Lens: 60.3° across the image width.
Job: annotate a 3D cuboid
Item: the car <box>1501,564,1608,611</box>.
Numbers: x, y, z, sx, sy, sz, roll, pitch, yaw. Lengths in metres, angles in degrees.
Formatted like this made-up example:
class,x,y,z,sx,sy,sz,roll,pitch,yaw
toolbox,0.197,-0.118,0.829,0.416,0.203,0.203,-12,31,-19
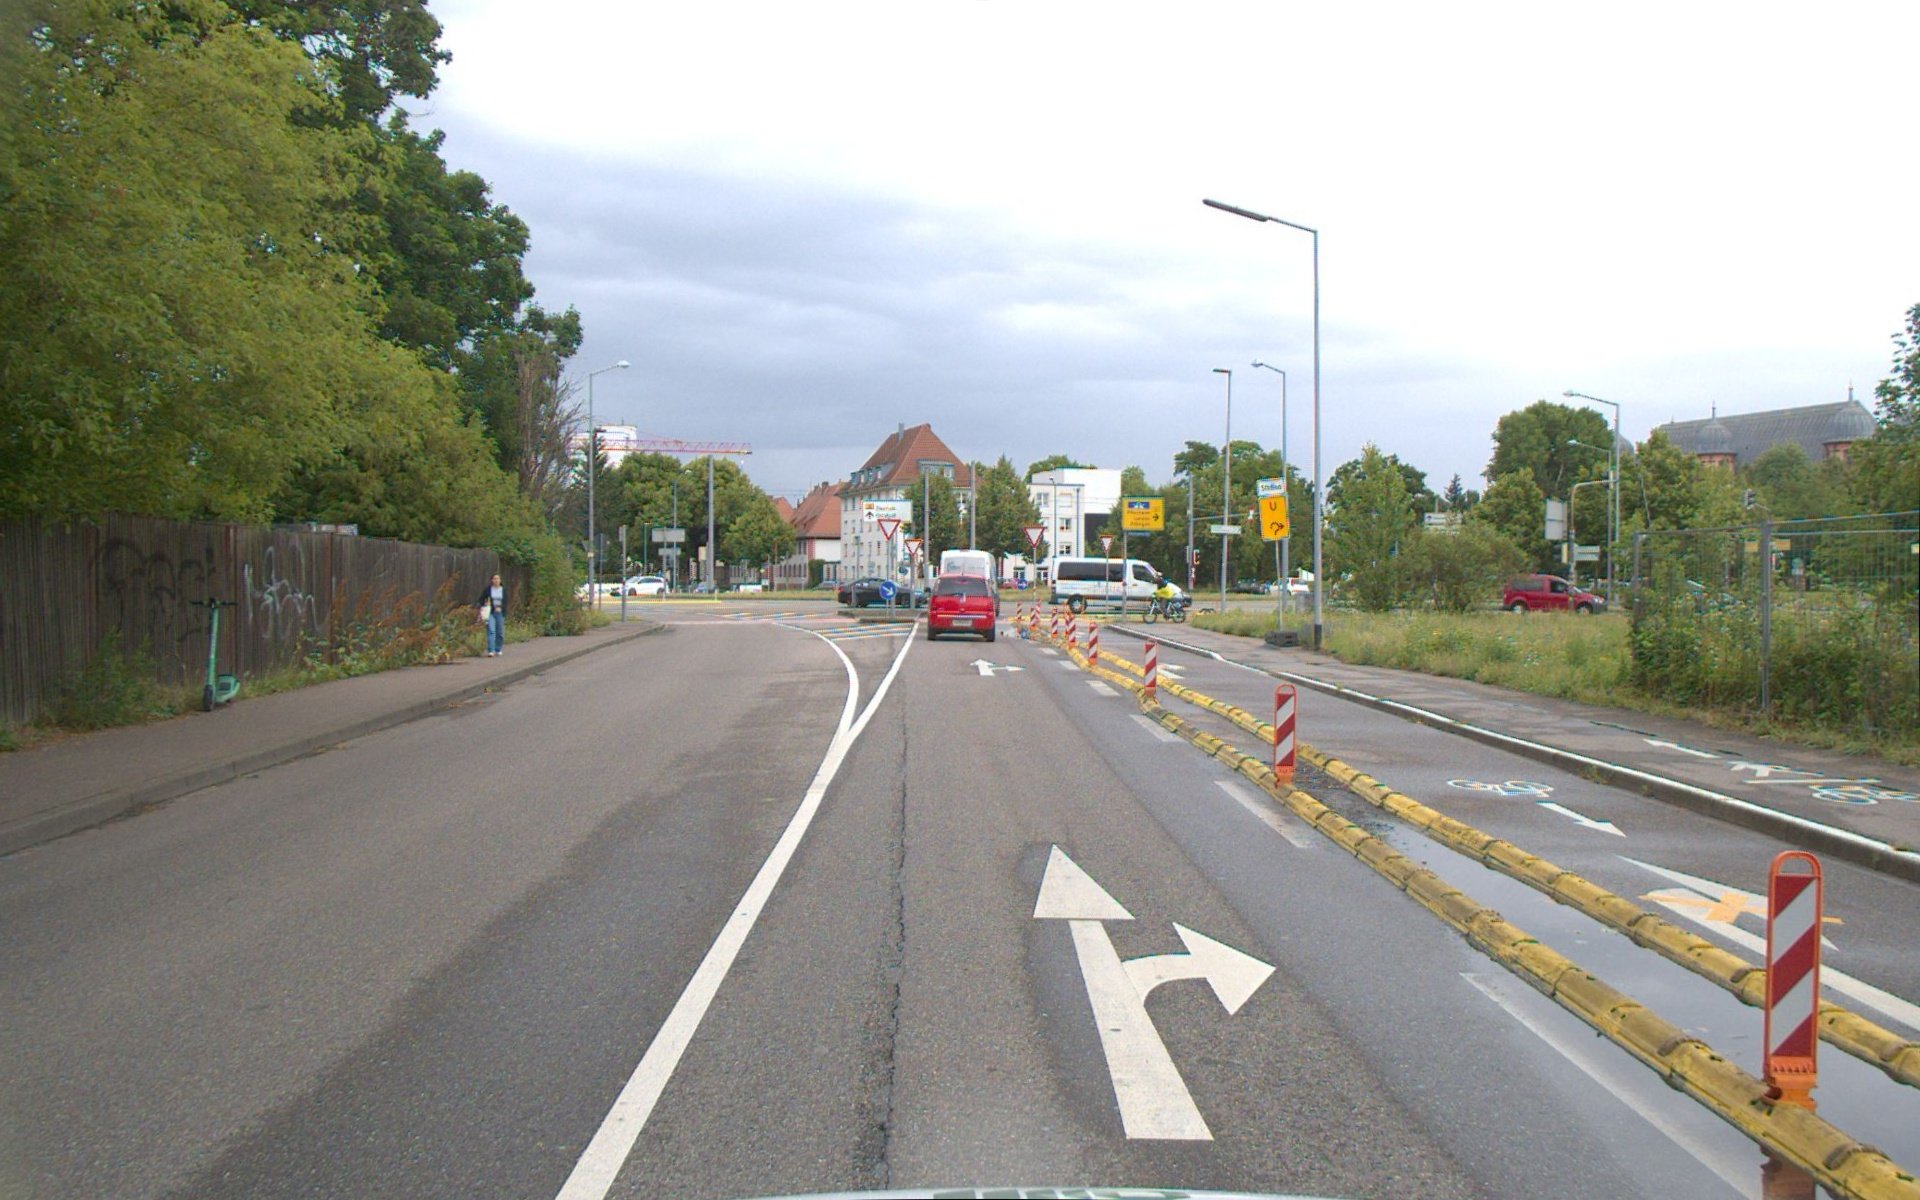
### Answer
class,x,y,z,sx,sy,sz,roll,pitch,yaw
car,25.179,-0.527,70.159,4.105,1.951,2.117,0,1,15

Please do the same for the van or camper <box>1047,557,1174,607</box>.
class,x,y,z,sx,sy,sz,roll,pitch,yaw
van or camper,6.539,-0.793,72.027,5.417,2.152,2.001,0,1,5

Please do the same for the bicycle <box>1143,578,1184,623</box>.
class,x,y,z,sx,sy,sz,roll,pitch,yaw
bicycle,7.377,0.009,59.917,1.446,1.640,0.606,0,0,2

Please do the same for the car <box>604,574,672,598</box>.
class,x,y,z,sx,sy,sz,roll,pitch,yaw
car,-22.604,-1.014,116.110,1.959,1.663,4.659,0,1,35

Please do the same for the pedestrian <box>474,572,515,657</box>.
class,x,y,z,sx,sy,sz,roll,pitch,yaw
pedestrian,-8.631,0.269,30.711,0.600,1.556,0.723,0,0,-5

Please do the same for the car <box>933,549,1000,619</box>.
class,x,y,z,sx,sy,sz,roll,pitch,yaw
car,0.300,-0.628,64.517,2.149,2.584,4.966,1,1,5

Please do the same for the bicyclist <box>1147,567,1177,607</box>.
class,x,y,z,sx,sy,sz,roll,pitch,yaw
bicyclist,7.325,-0.462,59.905,1.039,1.426,0.615,0,0,2

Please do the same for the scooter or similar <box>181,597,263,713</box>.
class,x,y,z,sx,sy,sz,roll,pitch,yaw
scooter or similar,-8.008,0.576,17.974,0.414,1.191,1.302,0,1,-6

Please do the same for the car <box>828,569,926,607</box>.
class,x,y,z,sx,sy,sz,roll,pitch,yaw
car,-3.889,-0.565,78.116,4.267,1.780,2.002,0,1,9

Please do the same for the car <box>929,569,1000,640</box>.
class,x,y,z,sx,sy,sz,roll,pitch,yaw
car,0.095,0.084,41.122,1.639,1.669,3.627,1,1,0

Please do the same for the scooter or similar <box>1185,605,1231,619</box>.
class,x,y,z,sx,sy,sz,roll,pitch,yaw
scooter or similar,8.963,0.429,59.855,1.574,0.513,0.925,0,1,2
